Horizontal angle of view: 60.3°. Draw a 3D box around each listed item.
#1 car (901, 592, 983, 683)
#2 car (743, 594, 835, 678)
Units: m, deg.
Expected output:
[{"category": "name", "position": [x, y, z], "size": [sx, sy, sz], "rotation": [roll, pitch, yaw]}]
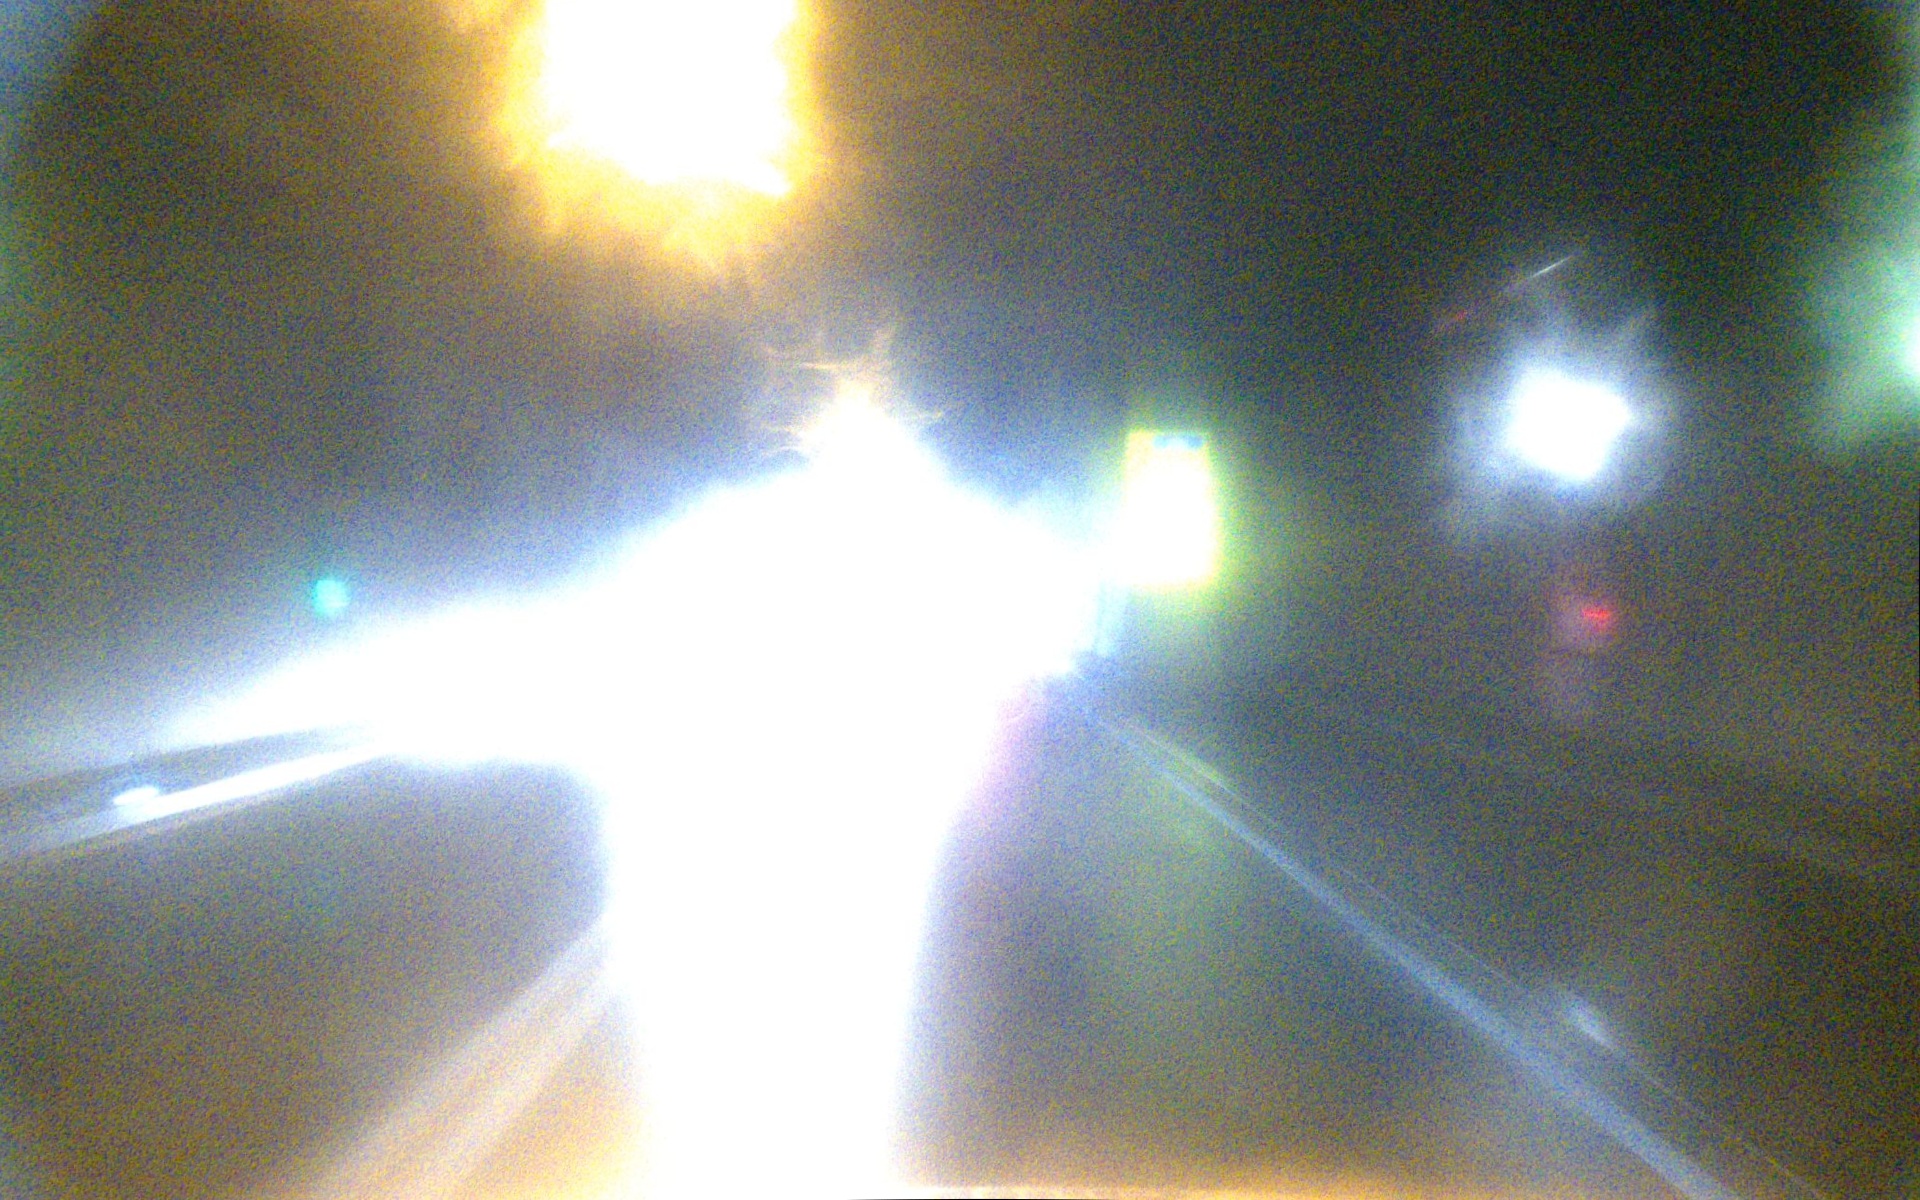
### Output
[{"category": "car", "position": [-0.367, 0.724, 34.381], "size": [1.602, 1.788, 4.145], "rotation": [0, 0, 0]}, {"category": "car", "position": [-3.463, 0.688, 34.067], "size": [1.489, 1.576, 4.054], "rotation": [0, 1, 0]}]
